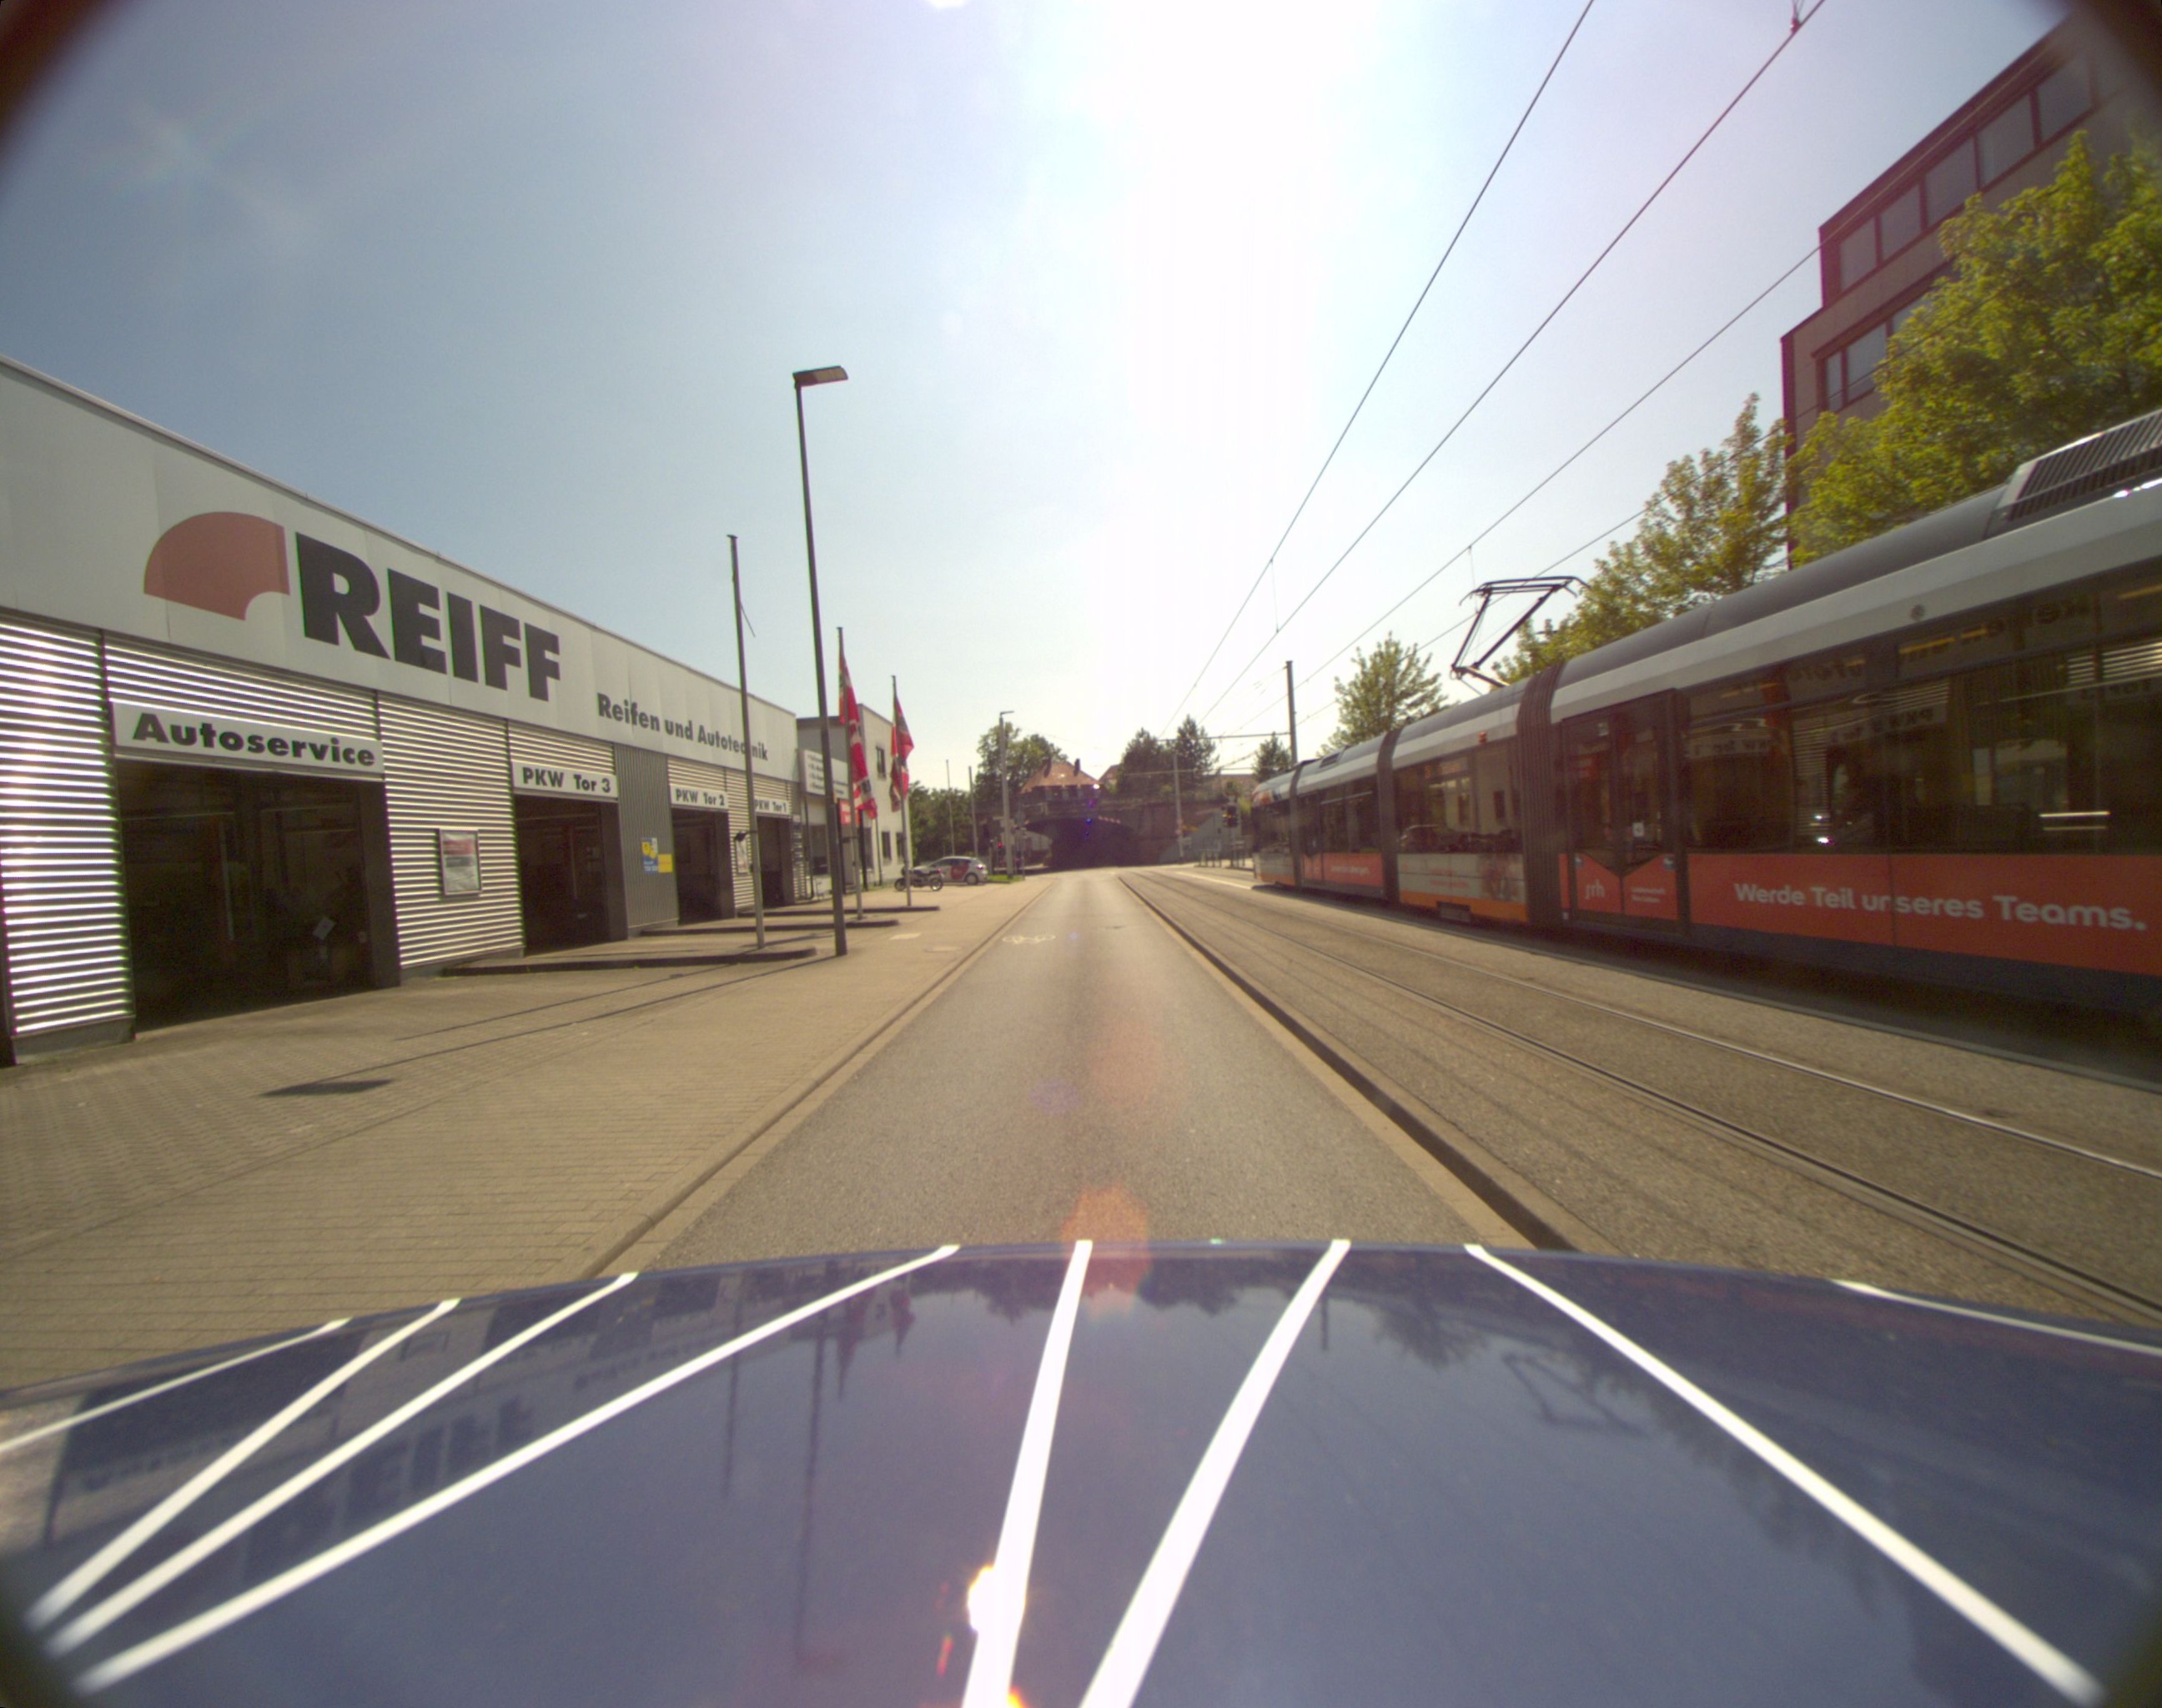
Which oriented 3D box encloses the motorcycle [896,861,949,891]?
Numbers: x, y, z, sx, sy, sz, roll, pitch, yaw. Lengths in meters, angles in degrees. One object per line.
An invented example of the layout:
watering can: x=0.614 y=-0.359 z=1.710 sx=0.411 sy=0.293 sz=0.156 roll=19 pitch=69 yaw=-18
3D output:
motorcycle: x=-7.021 y=0.957 z=33.753 sx=2.189 sy=1.301 sz=0.731 roll=0 pitch=1 yaw=-1

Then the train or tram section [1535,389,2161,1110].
train or tram section: x=6.454 y=-0.540 z=4.988 sx=2.586 sy=3.427 sz=7.136 roll=-3 pitch=0 yaw=0

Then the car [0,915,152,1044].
car: x=-14.419 y=1.612 z=9.275 sx=3.772 sy=1.368 sz=1.724 roll=-3 pitch=0 yaw=-4

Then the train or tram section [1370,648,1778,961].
train or tram section: x=6.551 y=-0.568 z=11.122 sx=2.617 sy=3.427 sz=5.010 roll=-3 pitch=0 yaw=0

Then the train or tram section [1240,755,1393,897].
train or tram section: x=6.657 y=-0.722 z=22.389 sx=2.617 sy=3.512 sz=5.742 roll=-3 pitch=0 yaw=0

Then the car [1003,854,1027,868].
car: x=-8.673 y=0.881 z=99.567 sx=1.824 sy=1.594 sz=4.300 roll=-5 pitch=0 yaw=-21

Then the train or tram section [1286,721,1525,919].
train or tram section: x=6.620 y=-0.620 z=16.579 sx=2.617 sy=3.427 sz=5.843 roll=-3 pitch=0 yaw=0

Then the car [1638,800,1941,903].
car: x=12.550 y=-0.050 z=13.890 sx=1.727 sy=1.575 sz=4.071 roll=-1 pitch=0 yaw=0

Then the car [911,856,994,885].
car: x=-6.600 y=0.837 z=39.325 sx=3.997 sy=1.454 sz=1.889 roll=0 pitch=1 yaw=-1

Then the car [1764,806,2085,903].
car: x=15.556 y=0.006 z=14.383 sx=1.727 sy=1.455 sz=3.904 roll=-5 pitch=0 yaw=2
